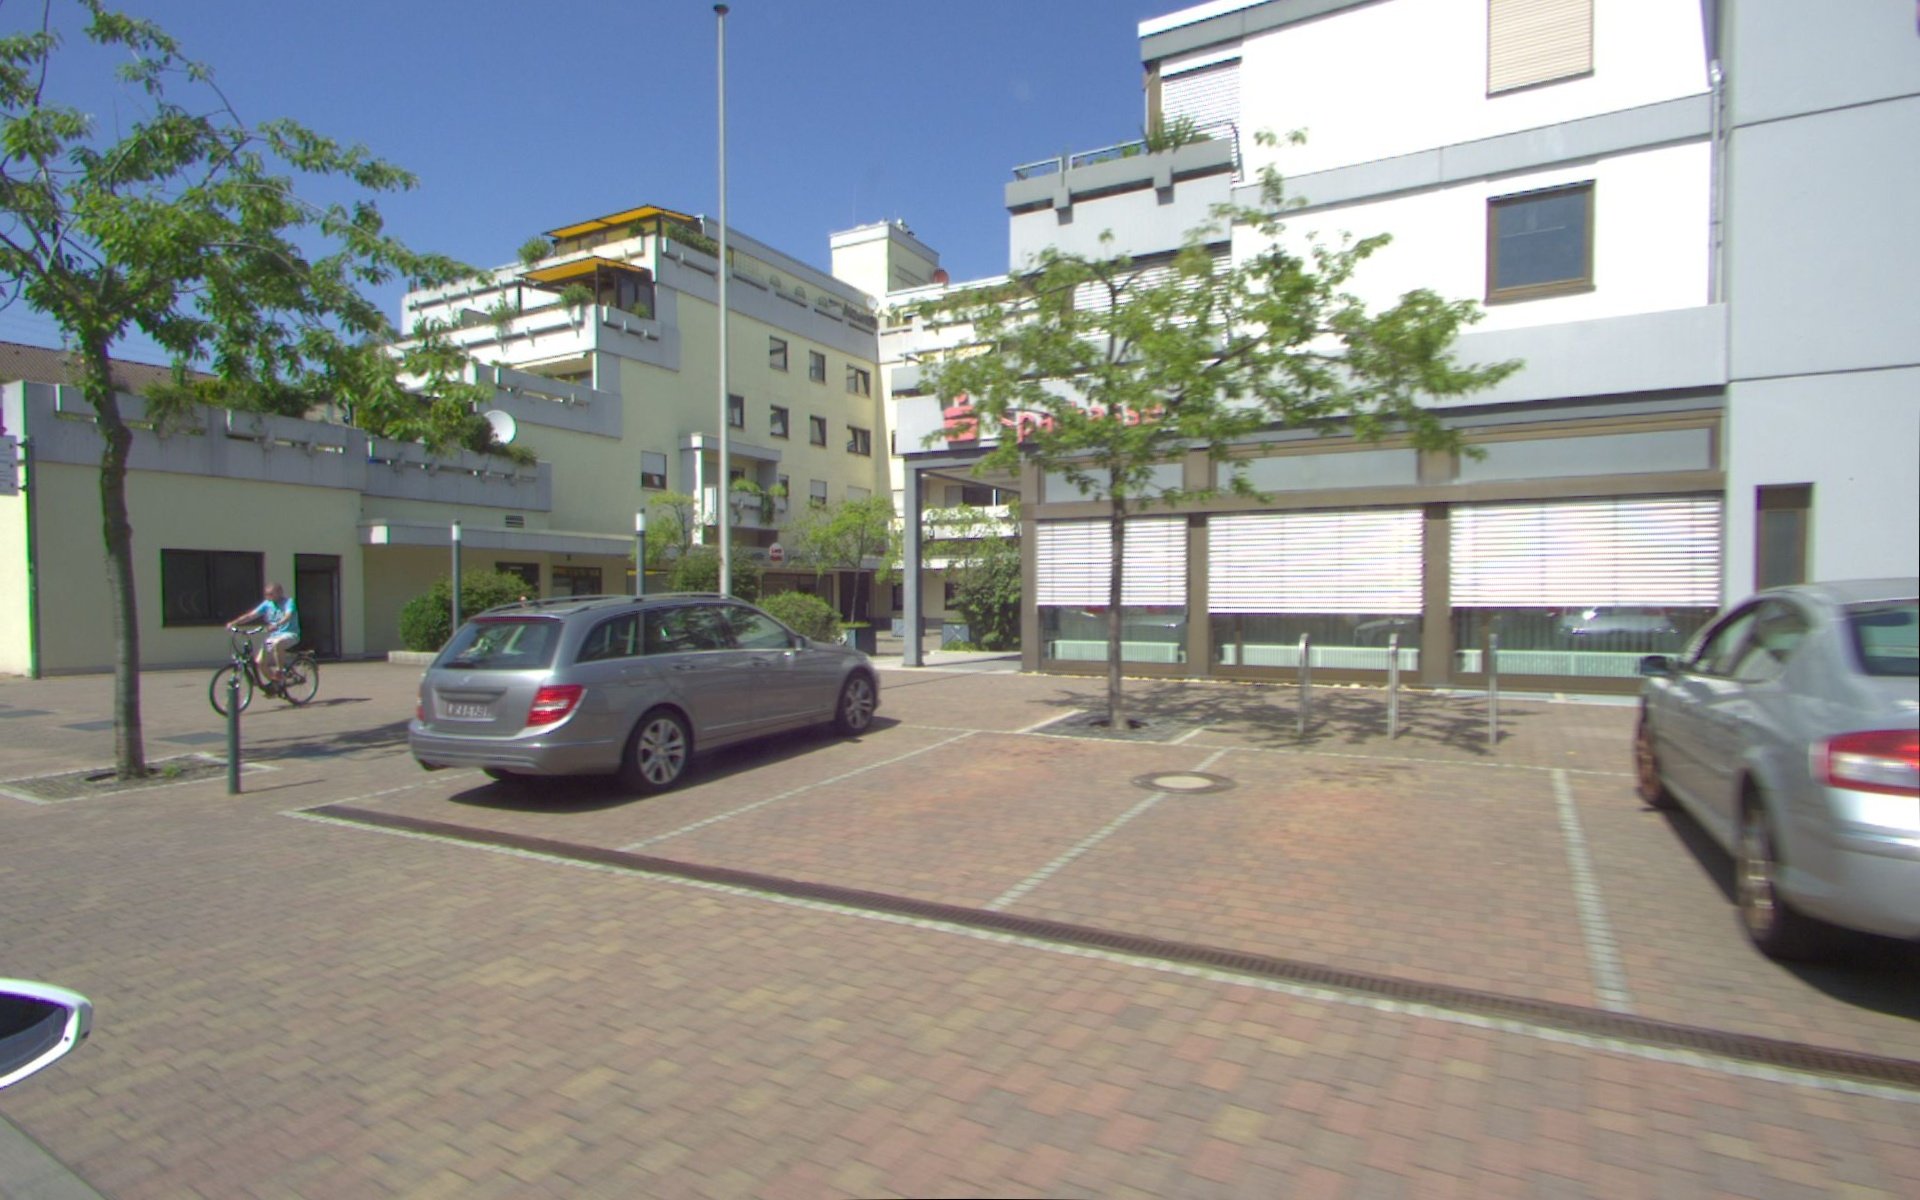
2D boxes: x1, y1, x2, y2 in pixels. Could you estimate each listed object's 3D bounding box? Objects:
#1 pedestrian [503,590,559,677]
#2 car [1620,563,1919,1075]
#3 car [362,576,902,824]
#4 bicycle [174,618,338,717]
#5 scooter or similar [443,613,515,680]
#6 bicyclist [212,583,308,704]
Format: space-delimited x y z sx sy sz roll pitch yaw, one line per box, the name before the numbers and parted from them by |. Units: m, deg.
pedestrian | -7.792 0.595 18.190 0.792 1.541 0.700 0 1 -39
car | 4.460 0.577 4.579 1.810 1.460 4.531 0 2 26
car | -2.467 0.606 8.908 1.886 1.533 4.571 0 2 26
bicycle | -9.279 0.844 13.303 0.663 1.124 1.894 0 2 6
scooter or similar | -8.484 0.798 17.666 1.031 1.121 0.623 -1 1 -38
bicyclist | -9.281 0.552 13.305 0.658 1.548 0.761 0 3 6
